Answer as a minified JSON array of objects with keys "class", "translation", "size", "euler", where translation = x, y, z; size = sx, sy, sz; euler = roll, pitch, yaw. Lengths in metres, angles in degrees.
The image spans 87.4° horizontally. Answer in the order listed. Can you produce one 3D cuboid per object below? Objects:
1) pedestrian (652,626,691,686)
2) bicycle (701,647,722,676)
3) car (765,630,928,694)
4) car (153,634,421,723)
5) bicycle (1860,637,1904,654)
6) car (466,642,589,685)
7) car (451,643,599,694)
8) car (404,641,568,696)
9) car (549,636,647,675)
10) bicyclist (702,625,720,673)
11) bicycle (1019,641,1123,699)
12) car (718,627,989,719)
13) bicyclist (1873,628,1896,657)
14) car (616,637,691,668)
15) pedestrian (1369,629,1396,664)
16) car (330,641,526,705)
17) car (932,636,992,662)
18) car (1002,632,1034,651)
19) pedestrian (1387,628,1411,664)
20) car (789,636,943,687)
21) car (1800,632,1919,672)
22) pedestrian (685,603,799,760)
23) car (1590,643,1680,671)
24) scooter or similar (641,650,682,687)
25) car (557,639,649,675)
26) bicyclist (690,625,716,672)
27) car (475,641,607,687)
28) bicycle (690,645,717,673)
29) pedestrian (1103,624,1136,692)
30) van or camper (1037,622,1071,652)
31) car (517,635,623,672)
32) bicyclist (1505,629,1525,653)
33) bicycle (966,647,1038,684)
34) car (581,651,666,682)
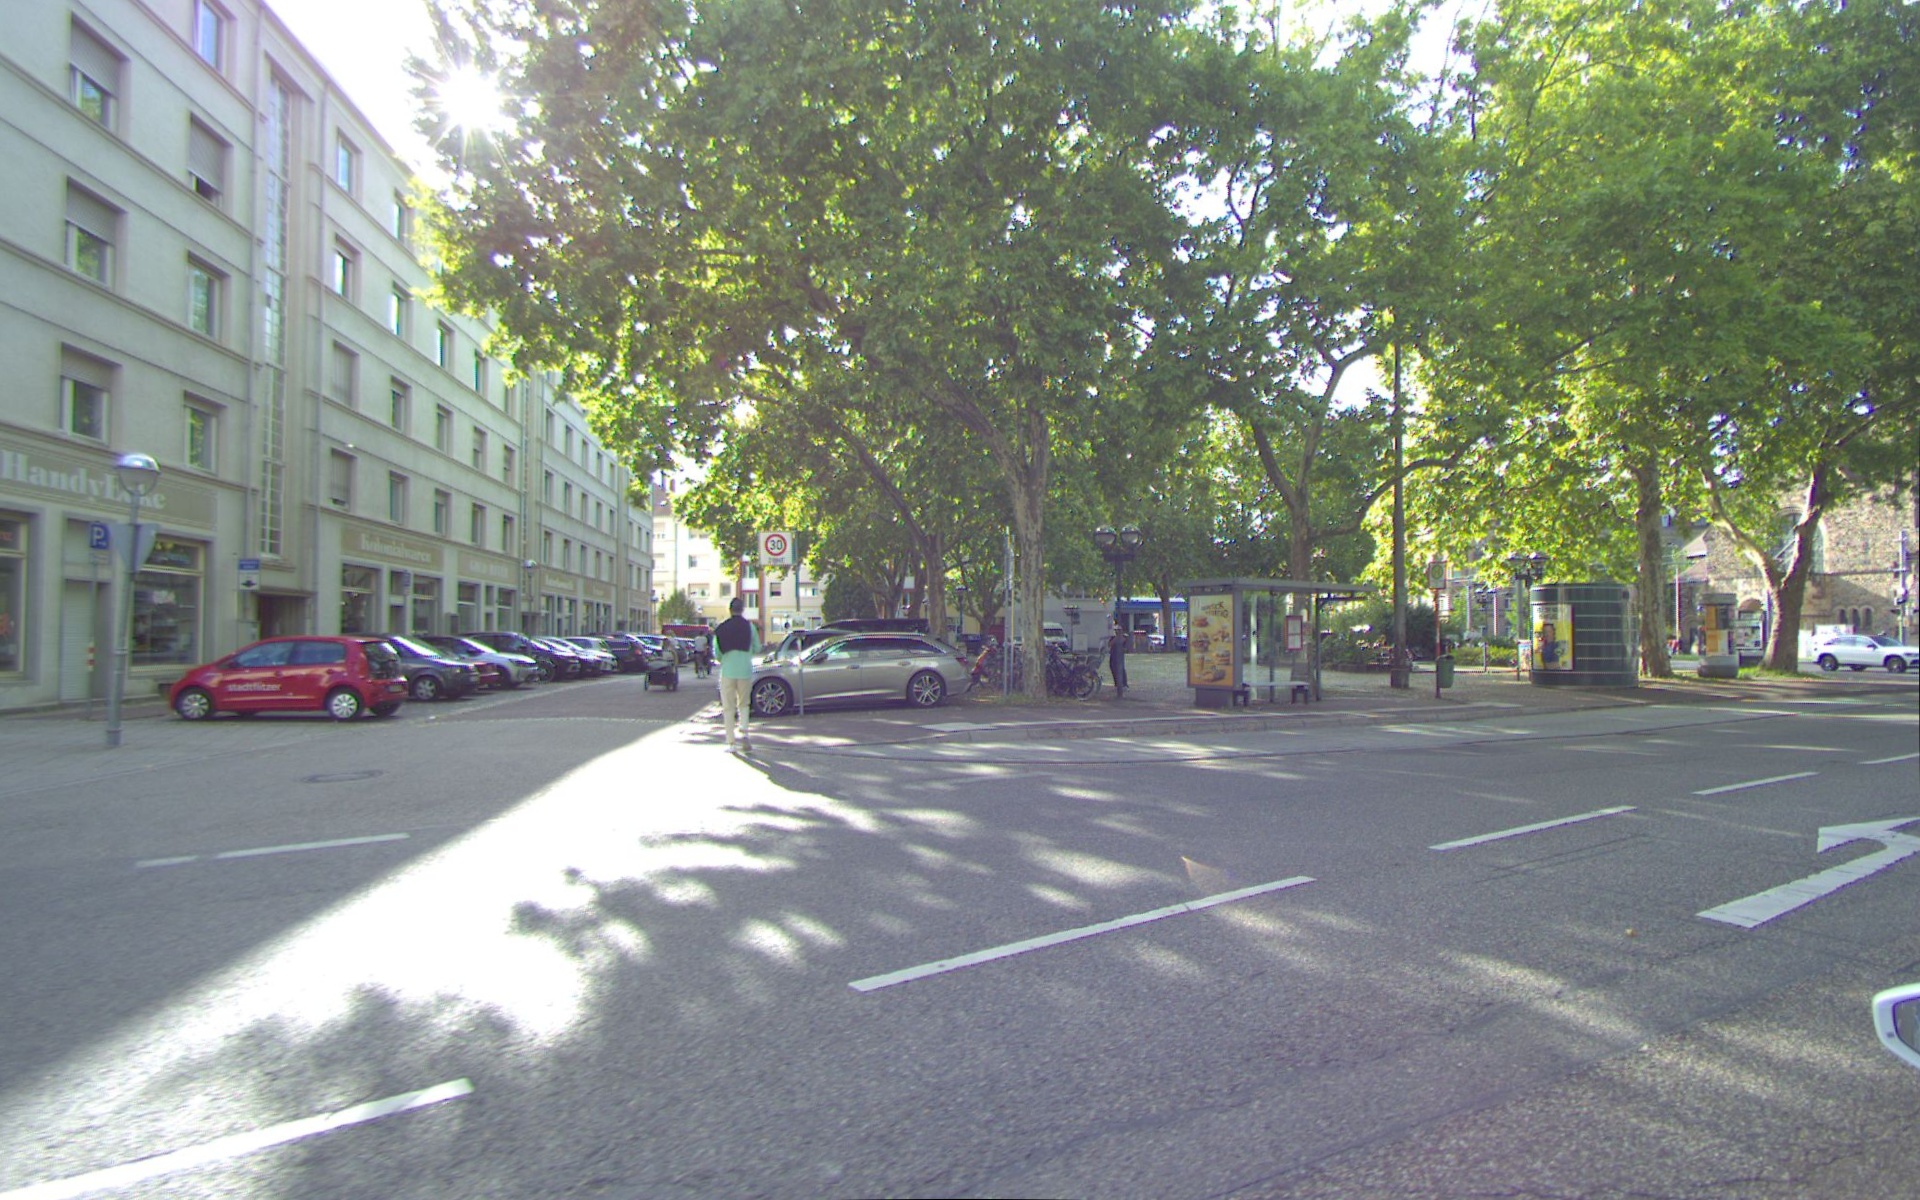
[{"class":"pedestrian","translation":[-8.185,1.583,28.522],"size":[0.800,1.676,1.076],"euler":[0,-1,-1]},{"class":"bicycle","translation":[-10.301,2.527,41.610],"size":[0.628,1.146,1.924],"euler":[0,-2,-7]},{"class":"car","translation":[-3.064,1.629,26.985],"size":[4.199,1.638,1.681],"euler":[0,-2,-10]},{"class":"car","translation":[-11.951,1.367,18.051],"size":[3.637,1.497,1.594],"euler":[0,-1,-7]},{"class":"bicycle","translation":[55.161,2.717,60.090],"size":[1.886,0.993,0.638],"euler":[-1,-2,9]},{"class":"car","translation":[-14.319,2.083,33.417],"size":[3.497,1.321,1.648],"euler":[0,-2,-12]},{"class":"car","translation":[-12.033,1.868,27.982],"size":[3.497,1.321,1.648],"euler":[0,-2,-12]},{"class":"car","translation":[-12.064,1.727,25.762],"size":[3.497,1.321,1.648],"euler":[0,-2,-12]},{"class":"car","translation":[-14.626,2.236,40.744],"size":[3.497,1.492,1.648],"euler":[0,-2,-12]},{"class":"bicyclist","translation":[-10.283,2.013,41.462],"size":[0.626,1.920,0.772],"euler":[0,-1,-8]},{"class":"bicycle","translation":[2.510,1.591,23.027],"size":[2.064,1.225,1.392],"euler":[2,-2,-8]},{"class":"car","translation":[-2.102,1.337,19.444],"size":[4.895,1.606,2.233],"euler":[0,-2,-18]},{"class":"bicyclist","translation":[55.235,2.545,60.033],"size":[0.705,1.684,0.726],"euler":[0,-2,10]},{"class":"car","translation":[-15.668,2.671,51.474],"size":[3.497,1.491,1.648],"euler":[0,-2,-12]},{"class":"pedestrian","translation":[16.326,1.780,38.820],"size":[0.709,1.306,0.818],"euler":[1,0,1]},{"class":"car","translation":[-12.163,1.651,23.135],"size":[3.635,1.384,1.595],"euler":[0,-1,-5]},{"class":"car","translation":[0.138,3.433,70.703],"size":[3.929,1.795,1.887],"euler":[0,-2,-11]},{"class":"car","translation":[4.797,3.426,83.109],"size":[2.071,1.466,4.490],"euler":[0,-2,-4]},{"class":"pedestrian","translation":[16.561,1.739,37.895],"size":[0.711,1.306,0.816],"euler":[1,0,33]},{"class":"car","translation":[-2.772,1.750,29.195],"size":[4.308,1.396,1.857],"euler":[0,-2,-10]},{"class":"car","translation":[40.804,2.281,44.962],"size":[1.981,1.705,4.712],"euler":[0,-2,-12]},{"class":"pedestrian","translation":[-2.619,0.934,12.058],"size":[0.913,1.777,1.063],"euler":[1,-1,-44]},{"class":"car","translation":[38.878,3.241,57.976],"size":[1.865,1.498,4.253],"euler":[0,-2,-12]},{"class":"scooter or similar","translation":[-8.053,1.843,27.160],"size":[0.792,0.935,1.014],"euler":[0,-1,1]},{"class":"car","translation":[-15.197,2.419,42.947],"size":[3.497,1.463,1.648],"euler":[0,-2,-12]},{"class":"bicyclist","translation":[-9.538,1.803,37.297],"size":[0.799,1.714,1.112],"euler":[0,-2,-8]},{"class":"car","translation":[-12.851,1.956,30.989],"size":[3.497,1.321,1.648],"euler":[0,-2,-12]},{"class":"bicycle","translation":[-9.503,2.179,37.255],"size":[0.749,1.007,1.924],"euler":[0,-2,-7]},{"class":"pedestrian","translation":[4.178,1.509,26.266],"size":[0.698,1.738,0.498],"euler":[1,-2,-31]},{"class":"van or camper","translation":[7.745,3.070,83.206],"size":[2.071,2.359,4.490],"euler":[0,-2,-4]},{"class":"car","translation":[-14.768,2.013,38.217],"size":[3.497,1.321,1.648],"euler":[0,-2,-12]},{"class":"bicyclist","translation":[35.570,2.650,64.423],"size":[0.703,1.523,0.882],"euler":[0,-2,-13]},{"class":"bicycle","translation":[1.245,1.946,29.895],"size":[2.056,1.096,0.702],"euler":[1,-2,-8]},{"class":"car","translation":[-15.327,3.002,45.871],"size":[3.497,1.321,1.648],"euler":[0,-2,-12]}]
